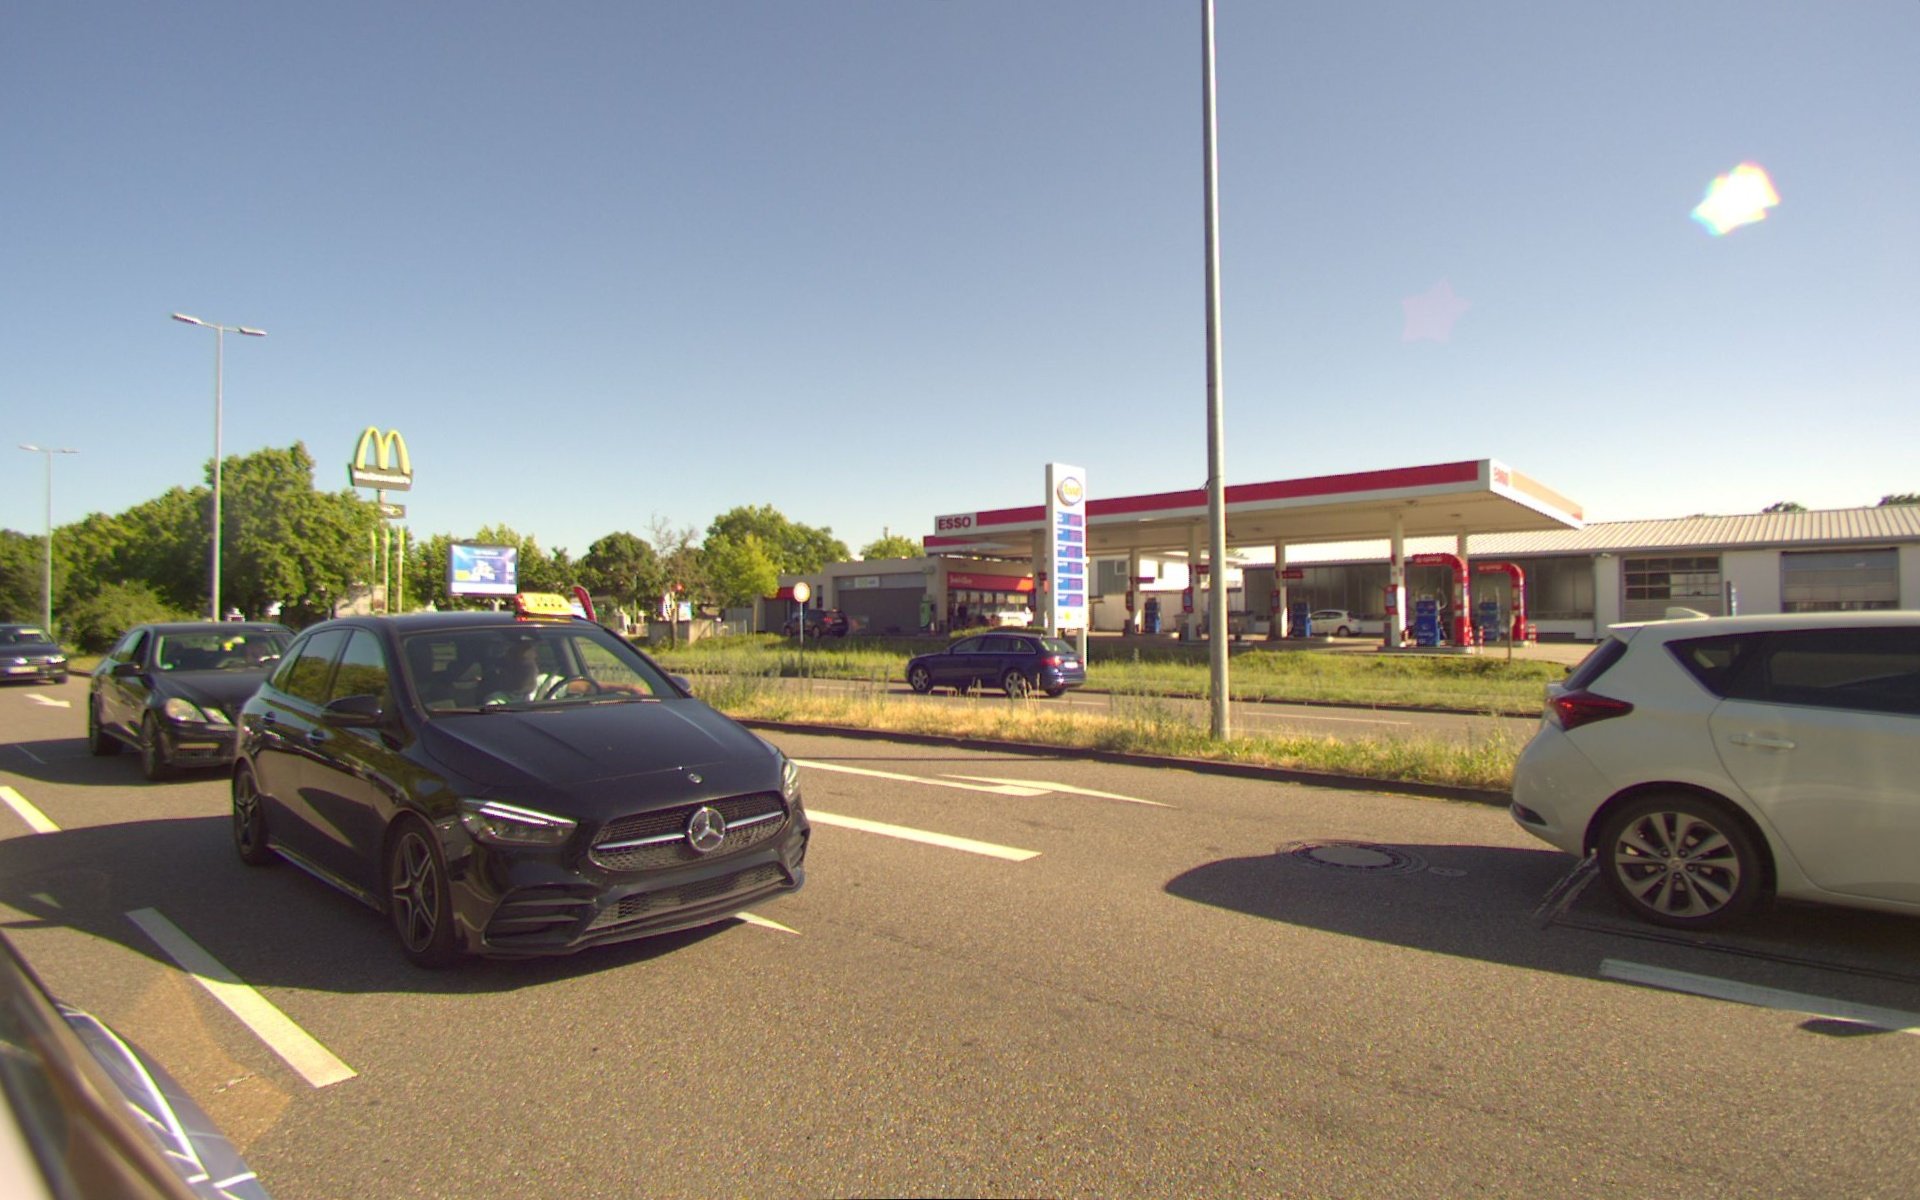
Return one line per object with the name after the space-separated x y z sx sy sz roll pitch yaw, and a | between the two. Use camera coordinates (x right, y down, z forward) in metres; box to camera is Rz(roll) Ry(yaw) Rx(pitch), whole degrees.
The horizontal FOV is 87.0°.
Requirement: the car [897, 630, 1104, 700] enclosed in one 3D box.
0.866 1.467 23.530 4.603 1.457 1.884 -1 -4 40 | car

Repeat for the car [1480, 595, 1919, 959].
4.866 0.697 4.310 4.401 1.440 1.838 -2 -2 41 | car

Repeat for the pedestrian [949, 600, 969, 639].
-0.061 1.049 54.352 0.840 2.029 0.694 -2 -2 41 | pedestrian

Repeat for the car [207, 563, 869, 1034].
-2.582 0.743 5.611 4.187 1.638 1.780 -2 -2 42 | car

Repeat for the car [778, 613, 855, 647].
-7.824 1.617 54.965 4.117 1.783 1.972 -2 -2 43 | car

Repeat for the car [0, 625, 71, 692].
-23.147 1.381 24.532 4.401 1.492 1.838 -2 -2 41 | car

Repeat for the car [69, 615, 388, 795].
-7.956 0.957 10.842 4.401 1.535 1.838 -2 -2 41 | car

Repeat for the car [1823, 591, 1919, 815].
9.174 0.742 7.292 4.433 1.703 1.860 -2 -2 41 | car

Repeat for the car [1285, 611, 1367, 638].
19.828 1.334 54.888 3.844 1.450 1.730 -2 -2 39 | car
